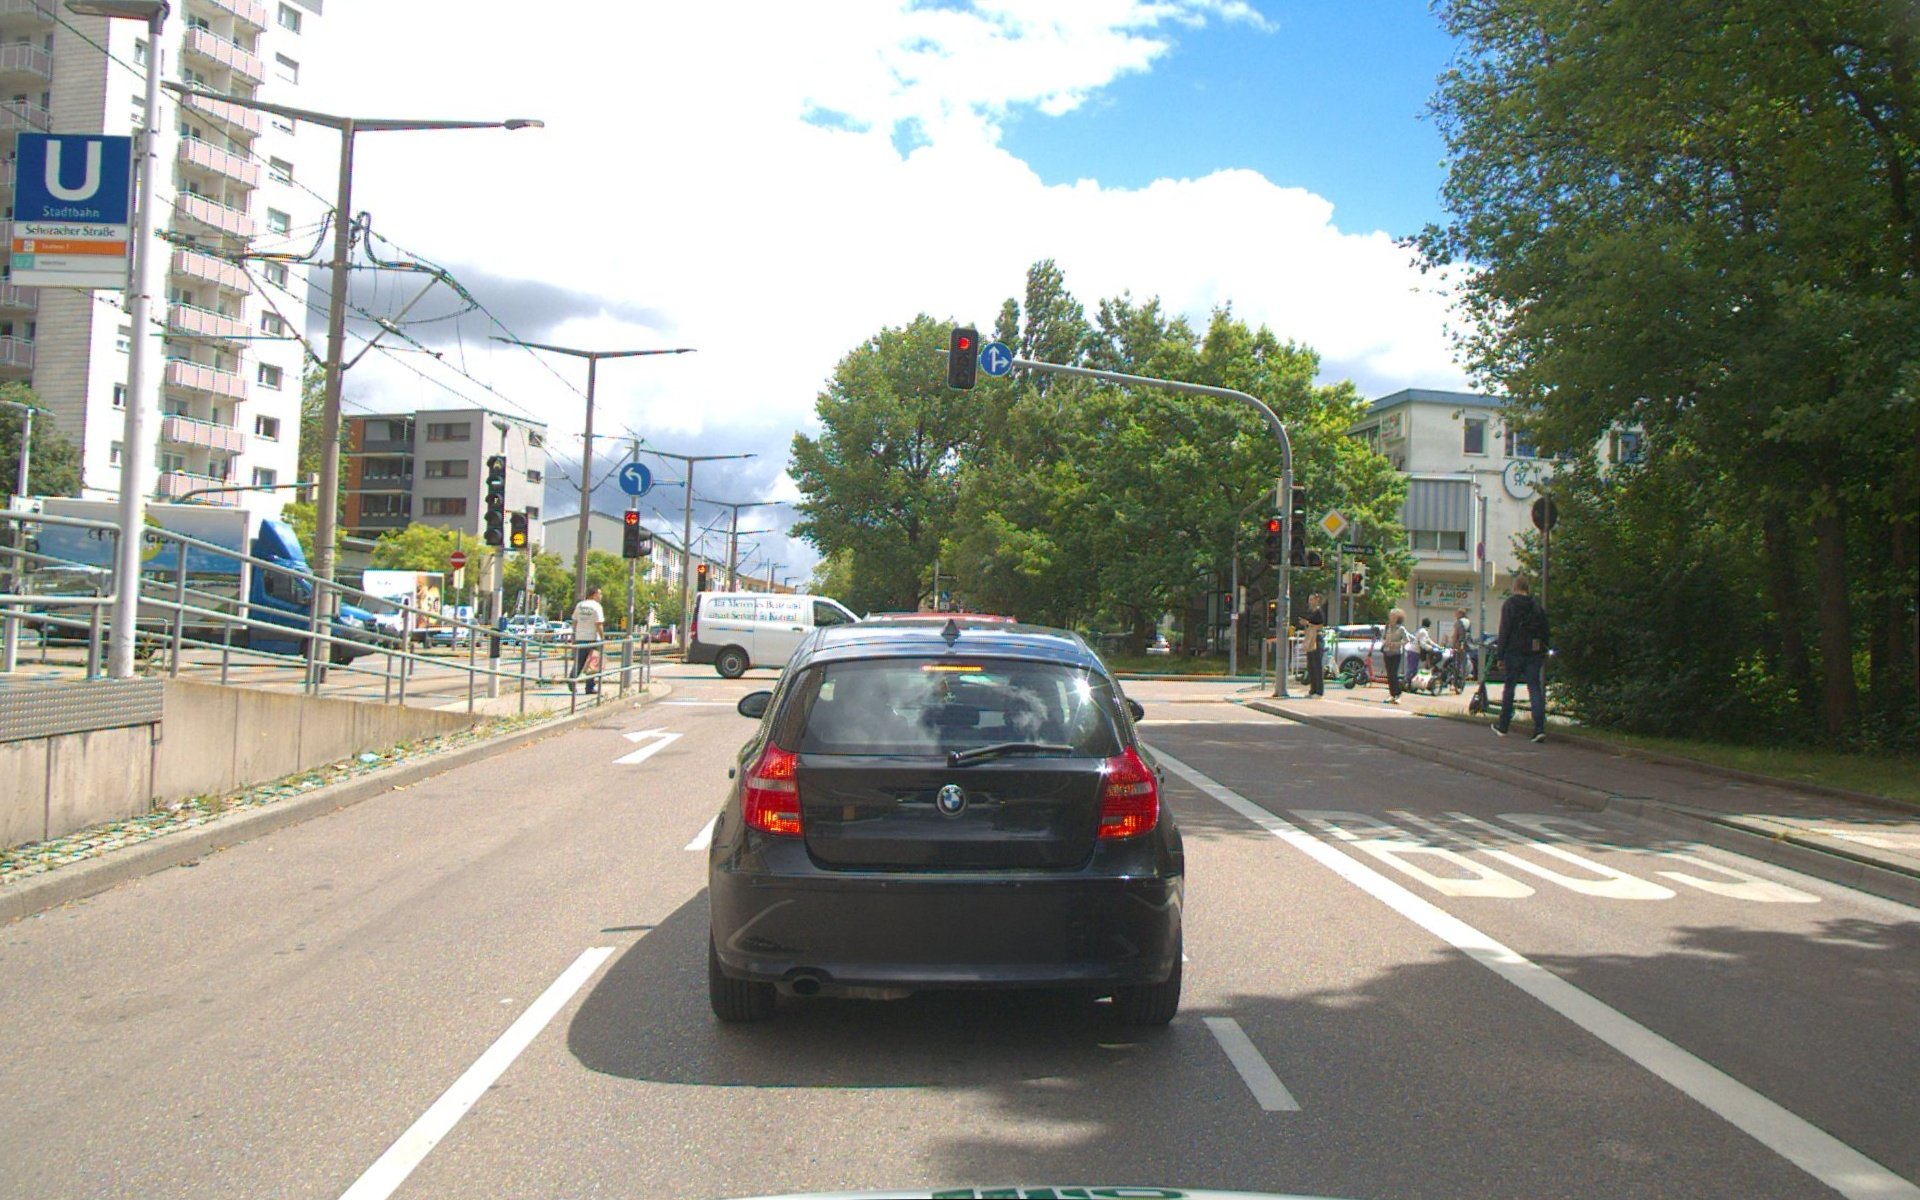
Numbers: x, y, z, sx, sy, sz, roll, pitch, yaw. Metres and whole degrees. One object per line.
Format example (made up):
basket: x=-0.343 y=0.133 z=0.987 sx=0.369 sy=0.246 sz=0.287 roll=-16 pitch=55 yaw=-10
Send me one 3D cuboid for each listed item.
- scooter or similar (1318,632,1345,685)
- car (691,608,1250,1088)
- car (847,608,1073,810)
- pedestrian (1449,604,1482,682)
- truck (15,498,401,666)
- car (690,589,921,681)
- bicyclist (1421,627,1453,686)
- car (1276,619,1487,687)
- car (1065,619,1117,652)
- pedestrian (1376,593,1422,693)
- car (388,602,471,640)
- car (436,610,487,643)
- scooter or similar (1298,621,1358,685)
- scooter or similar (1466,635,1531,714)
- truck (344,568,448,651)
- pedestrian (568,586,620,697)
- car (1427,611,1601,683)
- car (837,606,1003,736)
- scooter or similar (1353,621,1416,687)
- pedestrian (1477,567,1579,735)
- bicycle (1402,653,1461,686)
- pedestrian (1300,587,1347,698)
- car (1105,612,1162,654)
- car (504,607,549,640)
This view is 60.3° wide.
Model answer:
scooter or similar: x=7.866 y=1.221 z=34.996 sx=0.536 sy=1.082 sz=1.263 roll=1 pitch=0 yaw=13
car: x=0.013 y=0.761 z=6.712 sx=1.666 sy=1.424 sz=3.419 roll=1 pitch=0 yaw=-1
car: x=-0.023 y=0.792 z=13.614 sx=1.605 sy=1.424 sz=3.419 roll=1 pitch=0 yaw=-1
pedestrian: x=11.515 y=0.977 z=37.663 sx=0.644 sy=1.743 sz=0.461 roll=1 pitch=-1 yaw=26
truck: x=-16.215 y=-0.351 z=36.147 sx=7.135 sy=3.407 sz=2.602 roll=1 pitch=-1 yaw=-10
car: x=-3.556 y=0.795 z=37.691 sx=5.077 sy=1.926 sz=1.995 roll=1 pitch=-1 yaw=-11
bicyclist: x=9.694 y=1.146 z=33.621 sx=0.494 sy=1.177 sz=0.397 roll=0 pitch=-1 yaw=41
car: x=10.501 y=1.319 z=41.372 sx=4.701 sy=1.549 sz=1.996 roll=1 pitch=-1 yaw=-9
car: x=7.166 y=1.937 z=90.758 sx=1.830 sy=1.691 sz=3.988 roll=2 pitch=-1 yaw=-12
pedestrian: x=8.025 y=0.778 z=30.257 sx=0.624 sy=1.797 sz=0.517 roll=1 pitch=-1 yaw=-11
car: x=-28.392 y=1.134 z=88.608 sx=3.893 sy=2.009 sz=1.630 roll=2 pitch=-1 yaw=-43
car: x=-23.626 y=1.239 z=78.446 sx=1.379 sy=1.486 sz=3.772 roll=2 pitch=-1 yaw=-3
scooter or similar: x=7.396 y=1.054 z=33.284 sx=1.087 sy=1.257 sz=0.539 roll=1 pitch=-1 yaw=1
scooter or similar: x=9.326 y=1.285 z=28.672 sx=0.872 sy=1.251 sz=0.454 roll=6 pitch=-1 yaw=-1
truck: x=-23.153 y=0.388 z=68.210 sx=2.237 sy=3.172 sz=7.311 roll=2 pitch=-1 yaw=-5
pedestrian: x=-5.922 y=0.672 z=26.757 sx=0.678 sy=1.764 sz=0.683 roll=1 pitch=-1 yaw=-23
car: x=16.243 y=1.355 z=48.622 sx=4.451 sy=2.049 sz=1.996 roll=0 pitch=0 yaw=-9
car: x=-0.481 y=0.818 z=21.076 sx=1.862 sy=1.447 sz=4.538 roll=1 pitch=0 yaw=-1
scooter or similar: x=8.734 y=1.108 z=34.025 sx=1.127 sy=1.294 sz=0.555 roll=2 pitch=-1 yaw=1
pedestrian: x=6.635 y=0.583 z=19.352 sx=0.779 sy=1.909 sz=1.012 roll=1 pitch=-1 yaw=-4
bicycle: x=9.559 y=1.396 z=33.476 sx=0.525 sy=0.620 sz=1.581 roll=1 pitch=-1 yaw=41
pedestrian: x=6.364 y=0.744 z=28.932 sx=0.624 sy=1.909 sz=0.517 roll=1 pitch=-1 yaw=-11
car: x=8.352 y=1.574 z=79.746 sx=1.694 sy=1.904 sz=3.991 roll=2 pitch=-1 yaw=-9
car: x=-24.140 y=1.295 z=92.187 sx=1.559 sy=1.787 sz=3.773 roll=2 pitch=-1 yaw=-2
